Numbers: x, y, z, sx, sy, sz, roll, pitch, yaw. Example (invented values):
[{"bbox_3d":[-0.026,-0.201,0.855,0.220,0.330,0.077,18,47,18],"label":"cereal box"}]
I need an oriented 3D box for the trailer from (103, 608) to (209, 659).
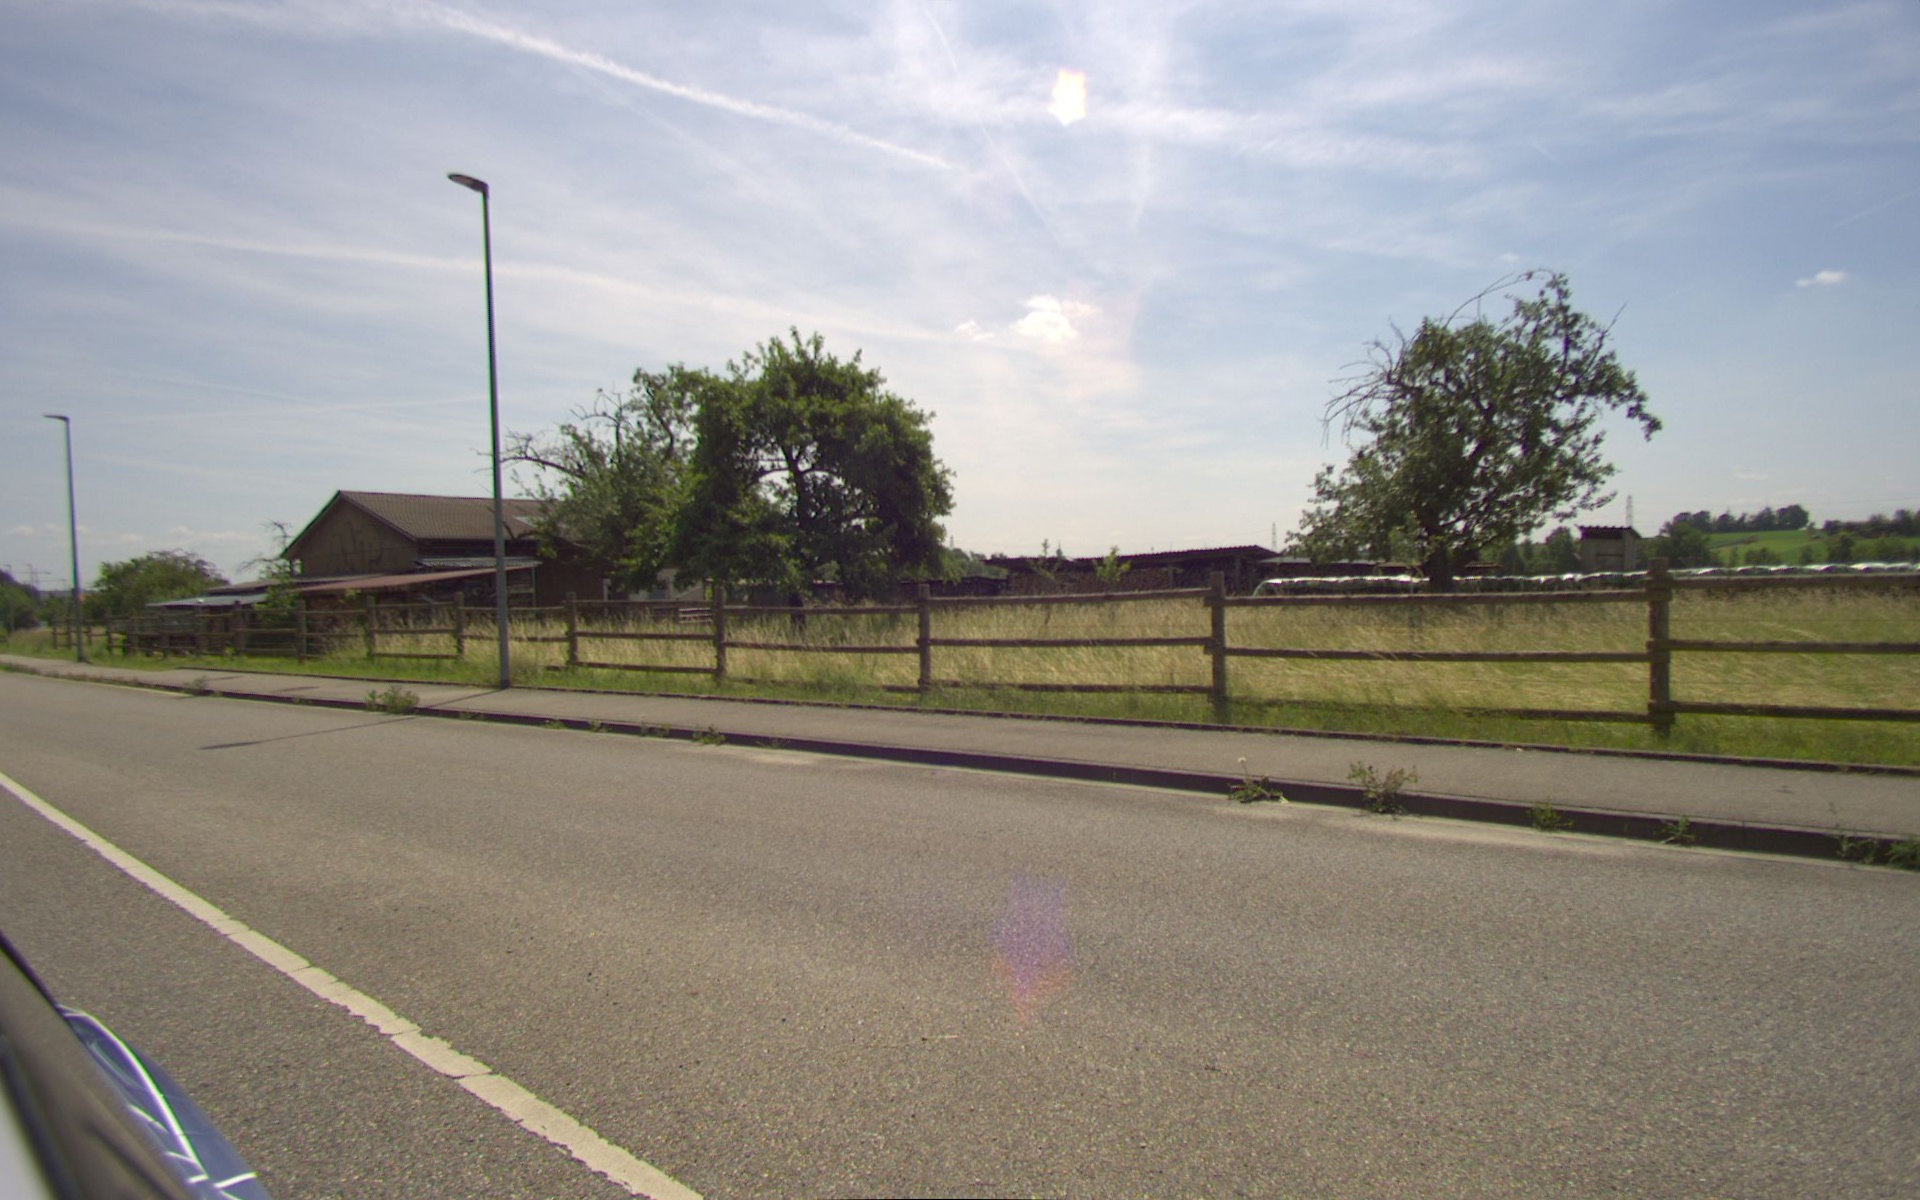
[{"bbox_3d":[-29.556,1.217,37.158,5.025,1.716,2.133,-2,-1,40],"label":"trailer"}]
